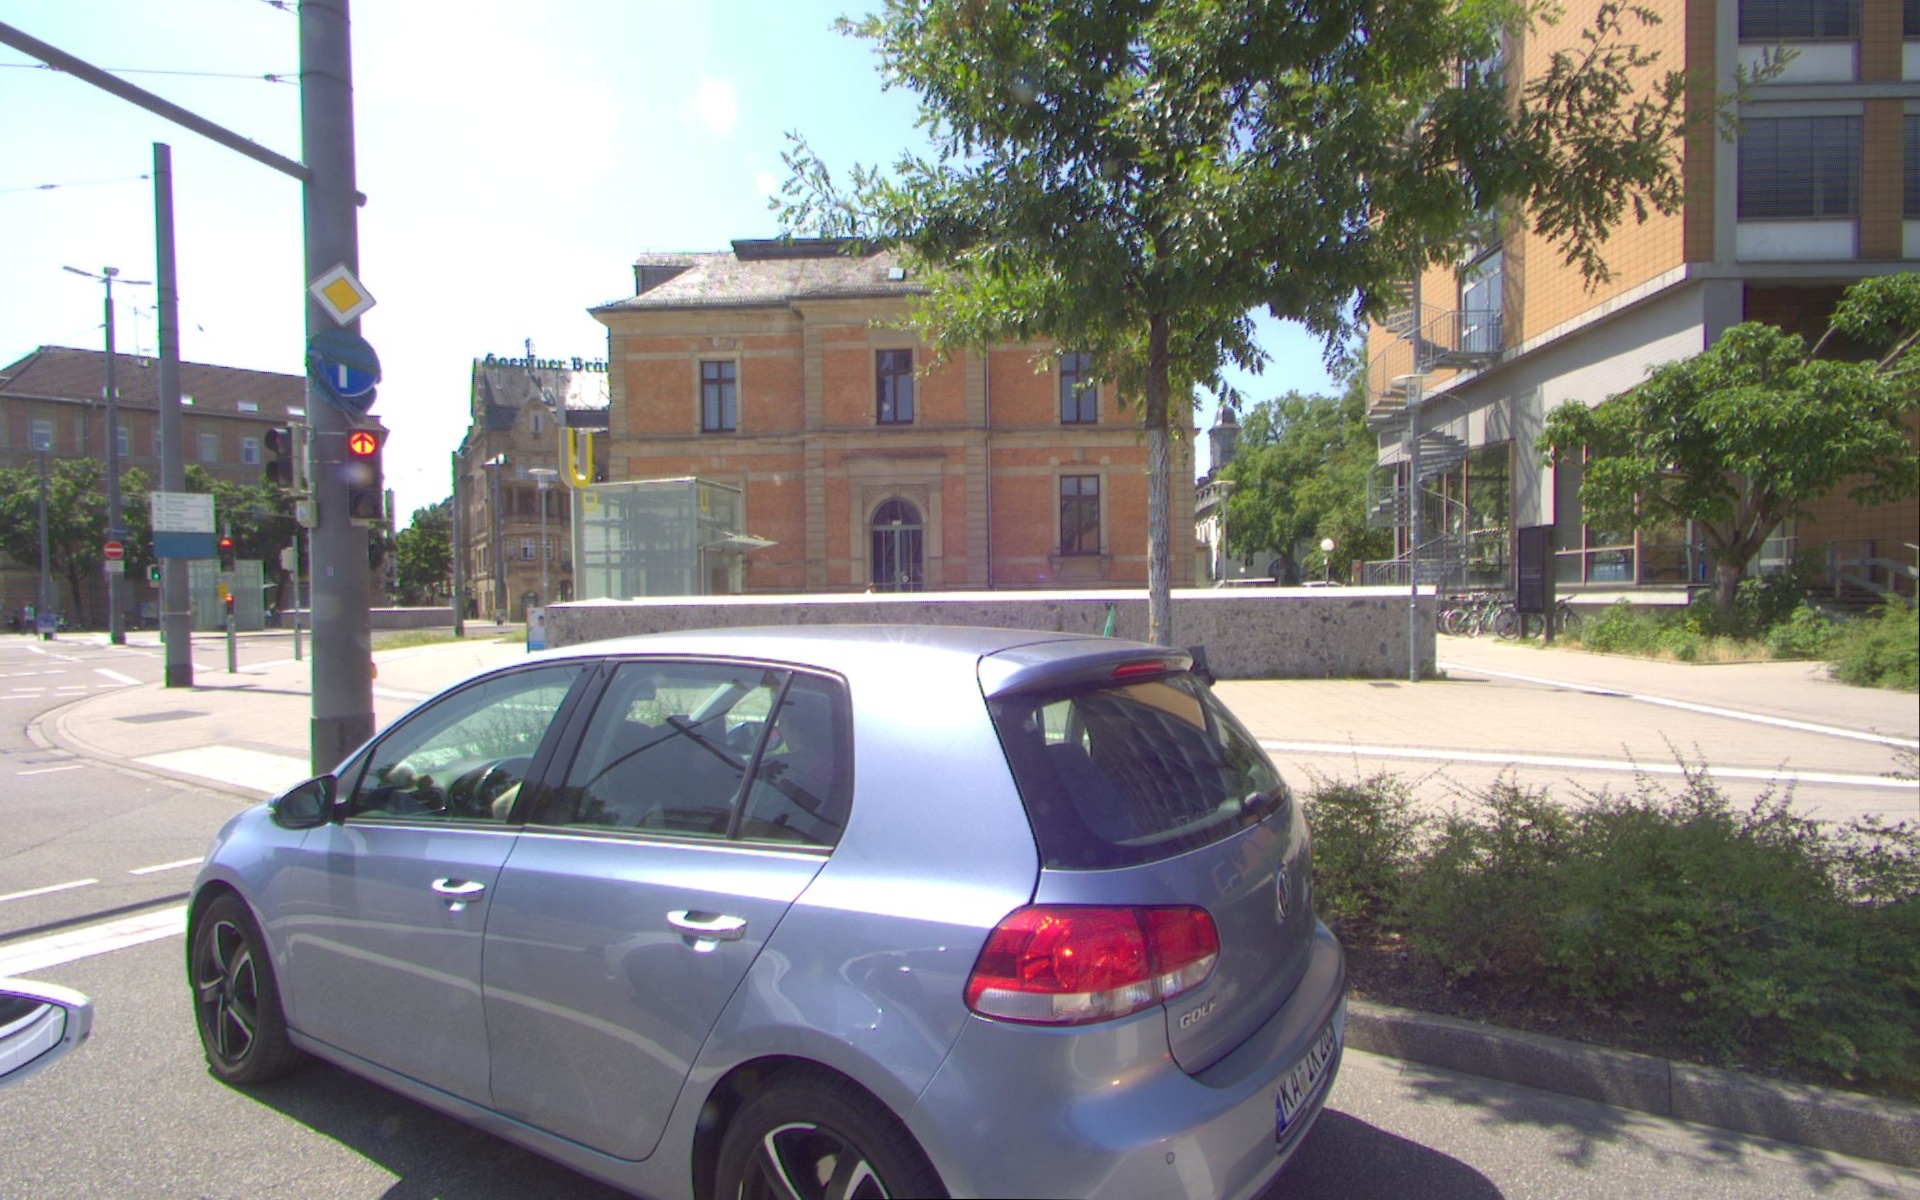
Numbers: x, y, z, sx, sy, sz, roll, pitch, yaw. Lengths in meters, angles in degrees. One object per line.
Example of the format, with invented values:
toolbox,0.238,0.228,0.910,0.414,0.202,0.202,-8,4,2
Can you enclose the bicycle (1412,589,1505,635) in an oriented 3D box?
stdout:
bicycle,13.540,0.332,27.252,2.175,1.234,0.637,0,-1,5

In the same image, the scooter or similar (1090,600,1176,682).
scooter or similar,2.566,0.599,14.797,1.227,1.186,0.458,0,1,13

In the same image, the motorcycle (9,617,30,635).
motorcycle,-56.105,1.539,59.733,1.920,1.089,0.578,0,1,36

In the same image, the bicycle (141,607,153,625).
bicycle,-52.576,1.035,64.766,0.547,1.135,1.854,-1,1,-41

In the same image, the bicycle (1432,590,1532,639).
bicycle,13.374,0.378,25.706,2.175,1.234,0.637,0,-1,5

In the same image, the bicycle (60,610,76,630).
bicycle,-55.200,1.242,61.971,2.069,1.160,0.440,-2,-2,39

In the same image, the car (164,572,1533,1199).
car,-0.574,0.740,3.013,3.946,1.478,1.648,0,-1,32

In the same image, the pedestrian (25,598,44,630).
pedestrian,-49.440,0.747,53.469,0.628,1.731,0.461,0,1,17

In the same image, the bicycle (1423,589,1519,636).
bicycle,13.497,0.342,26.479,2.175,1.234,0.637,0,-1,5

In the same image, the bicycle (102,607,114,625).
bicycle,-53.521,1.002,62.909,0.547,1.135,1.804,-1,1,-41

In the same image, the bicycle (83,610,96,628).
bicycle,-54.239,1.182,62.419,0.546,1.135,1.805,-1,1,-39
